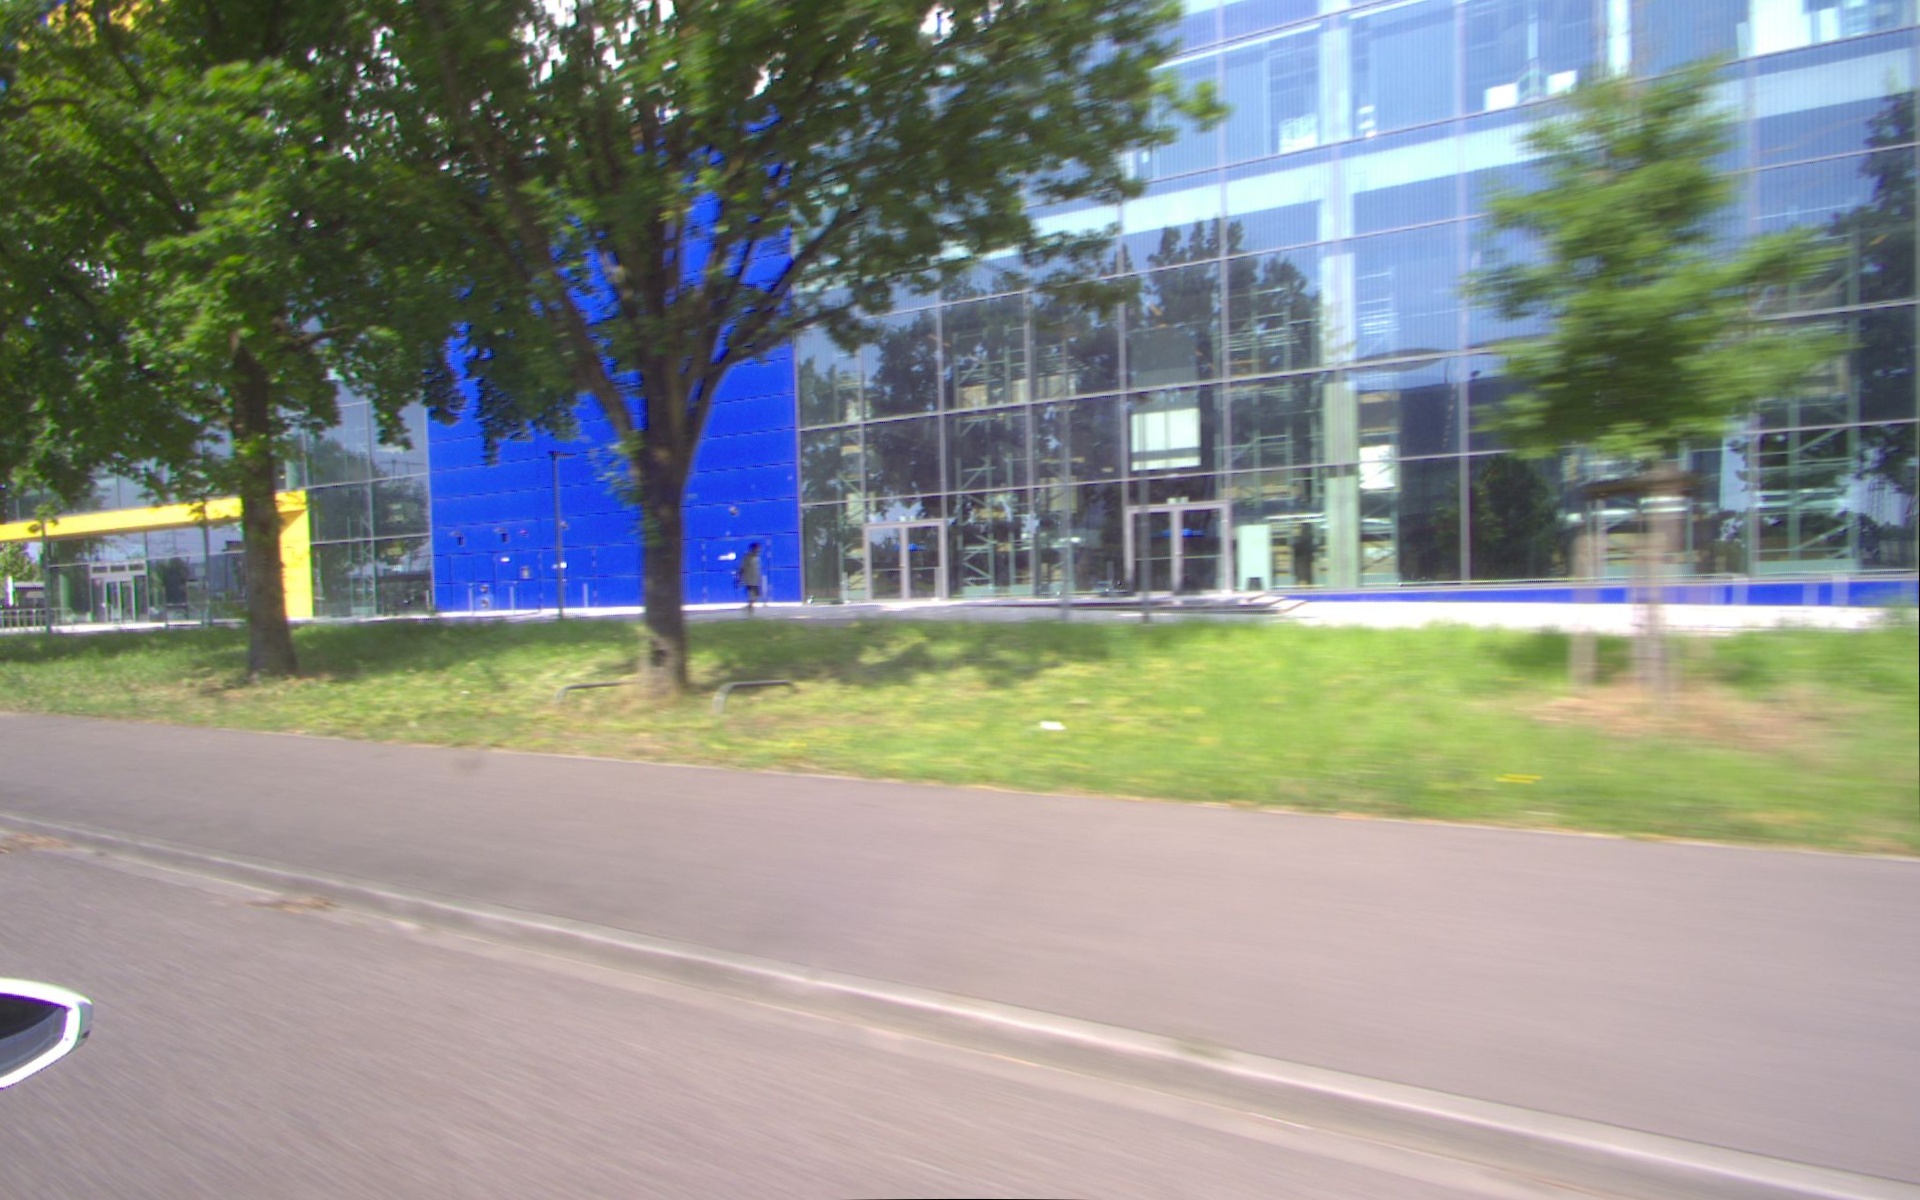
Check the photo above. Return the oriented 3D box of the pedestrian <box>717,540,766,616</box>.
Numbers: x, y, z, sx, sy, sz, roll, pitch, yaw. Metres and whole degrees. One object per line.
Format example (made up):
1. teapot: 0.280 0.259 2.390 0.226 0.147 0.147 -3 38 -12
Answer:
1. pedestrian: -4.782 -0.483 21.933 0.758 1.634 0.688 0 2 23
